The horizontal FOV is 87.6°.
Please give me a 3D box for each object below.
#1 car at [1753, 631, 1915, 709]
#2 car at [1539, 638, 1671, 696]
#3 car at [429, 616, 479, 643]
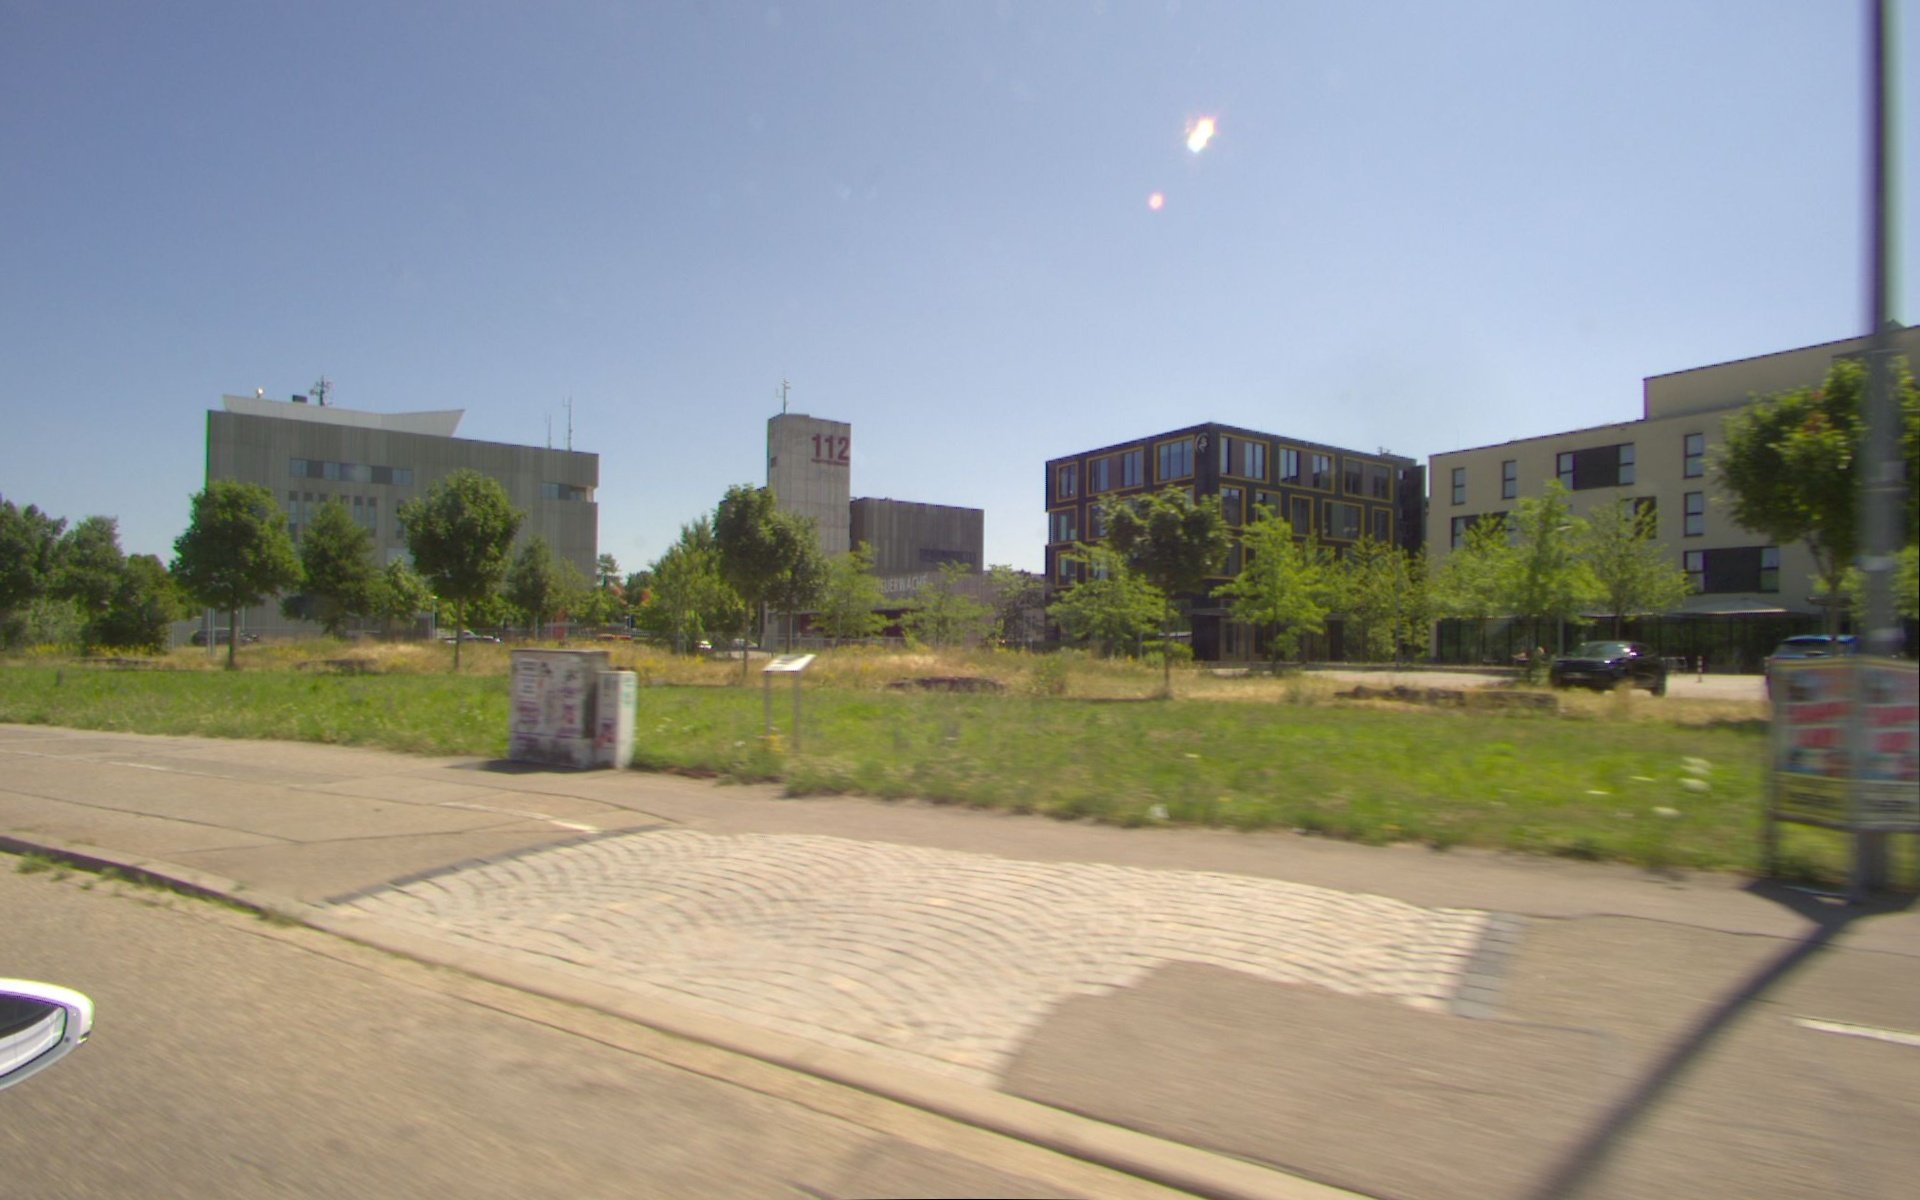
[{"bbox_3d":[20.561,1.610,23.529,4.019,1.672,1.942,2,-2,-34],"label":"car"},{"bbox_3d":[17.878,1.807,27.697,4.081,1.463,1.946,3,-2,-40],"label":"car"},{"bbox_3d":[-45.281,2.664,89.540,3.804,2.323,1.732,2,-2,-33],"label":"car"}]
